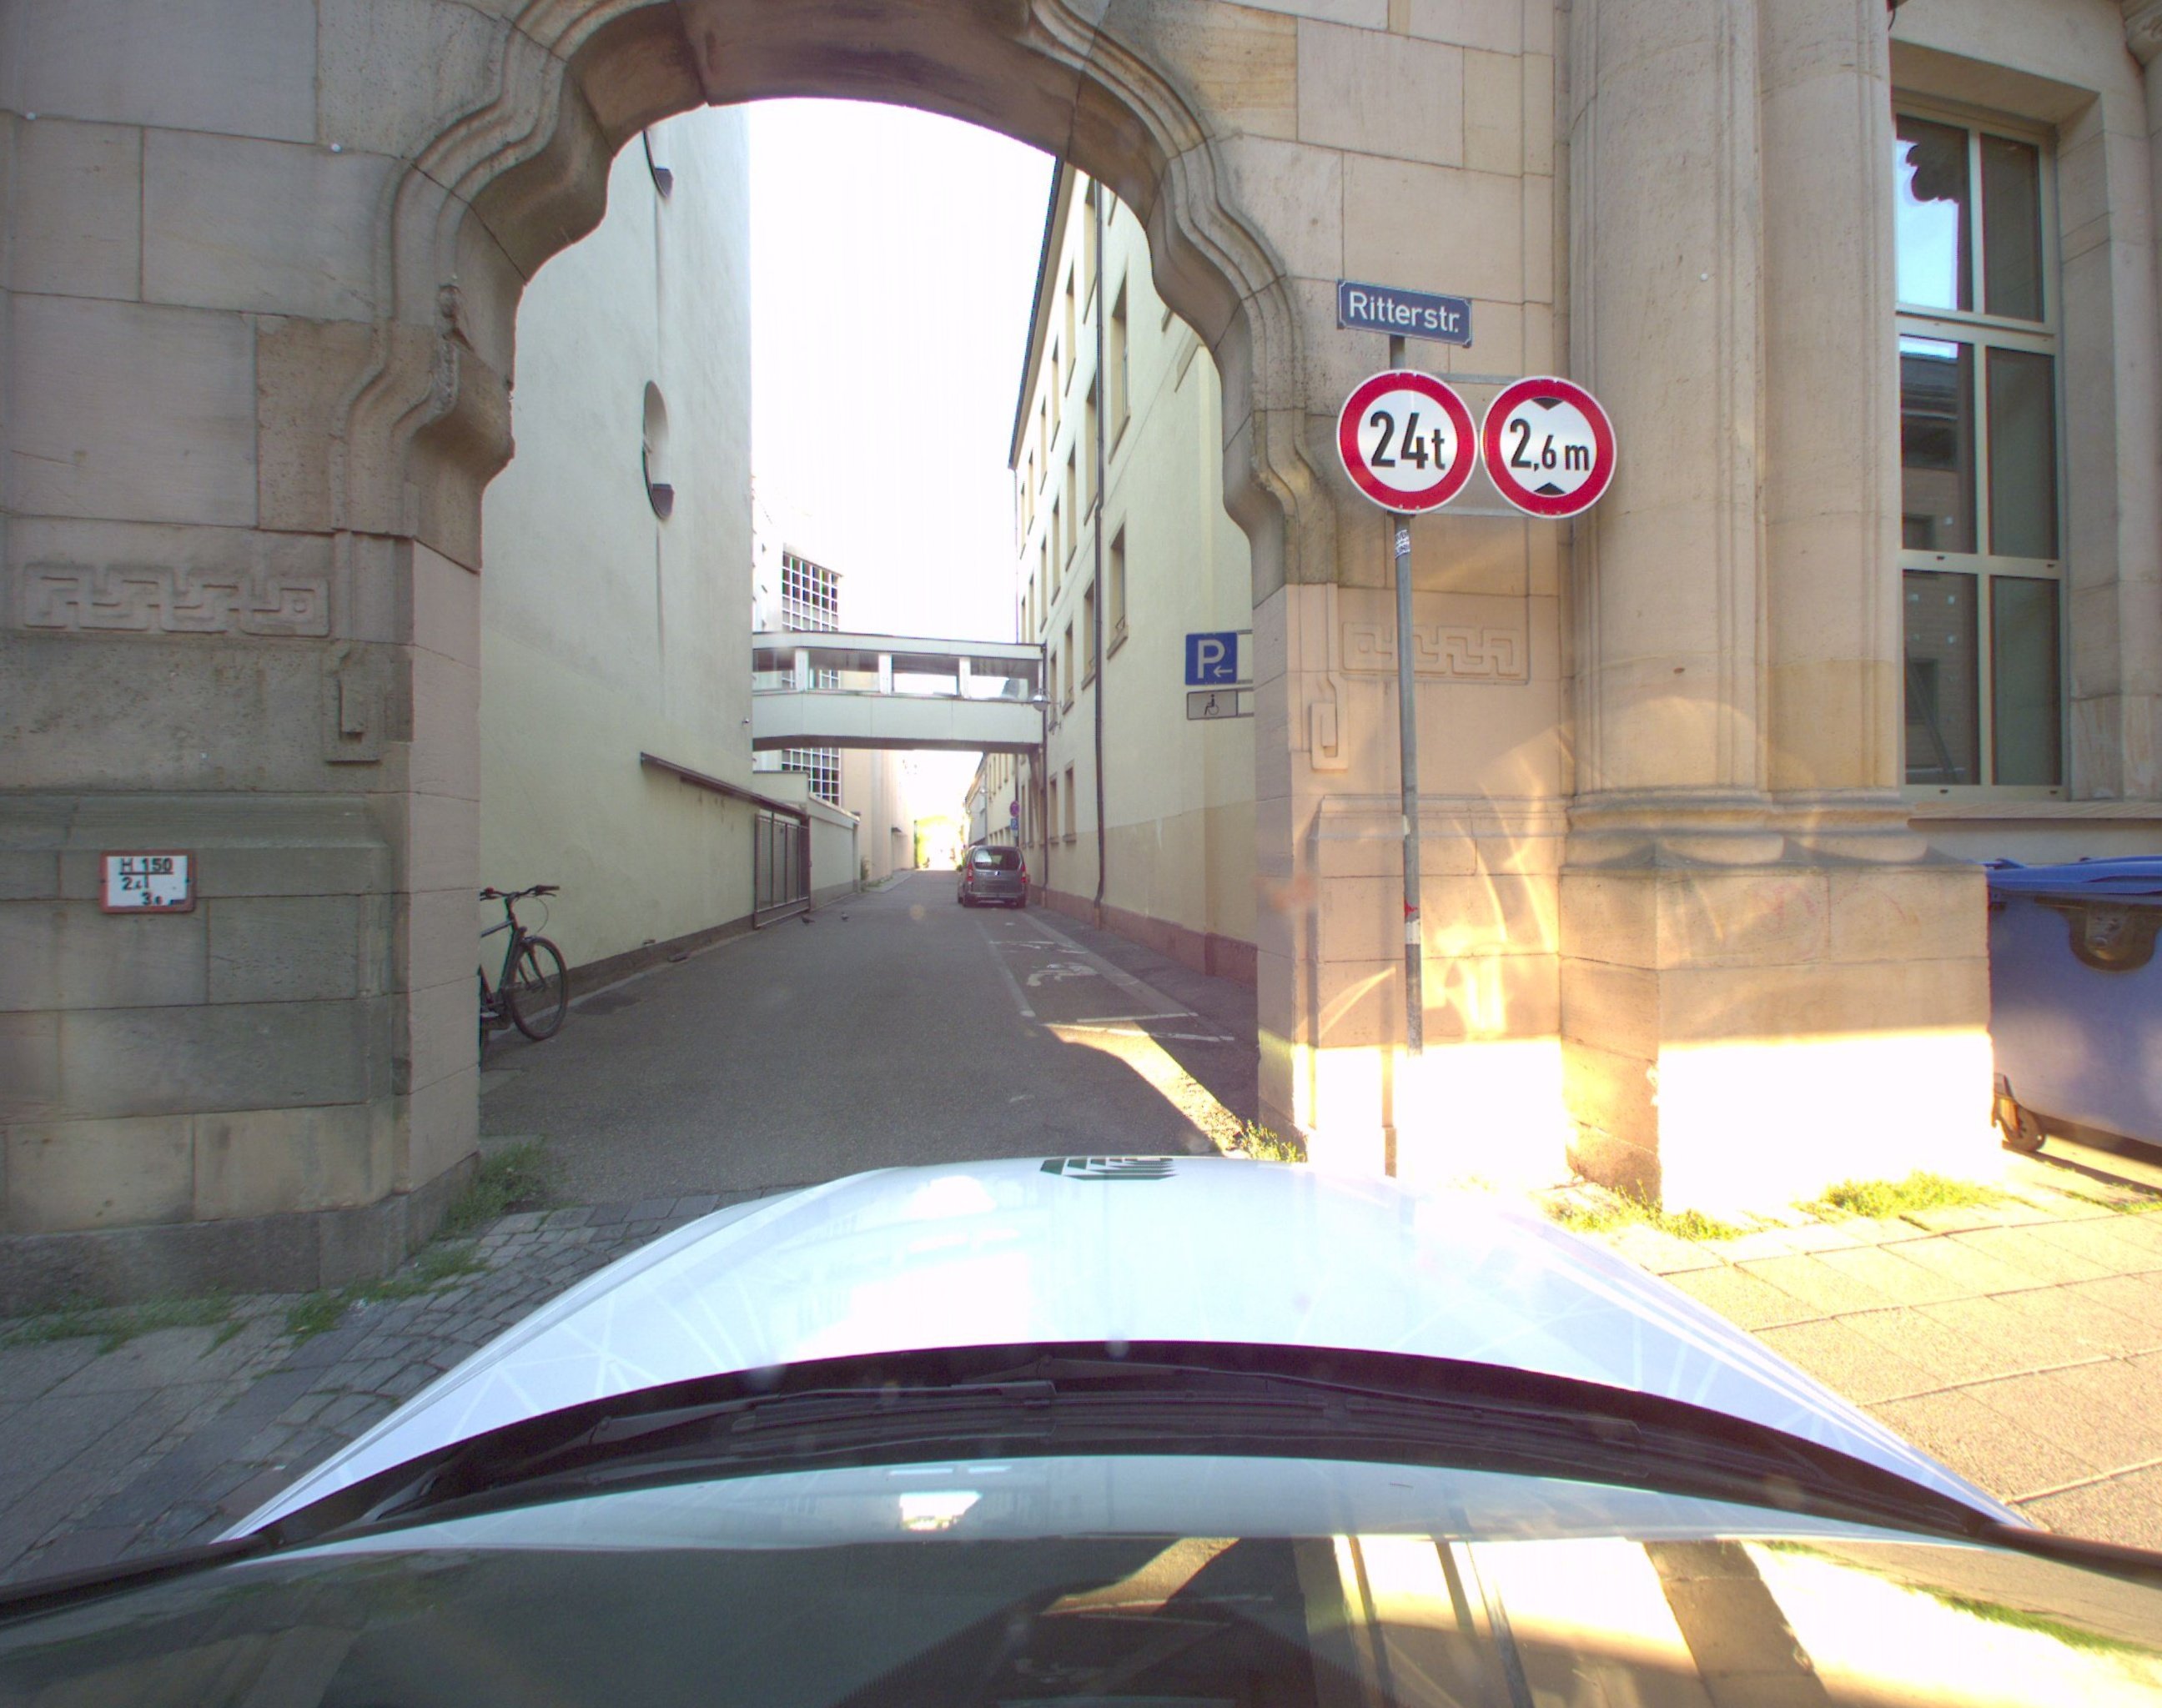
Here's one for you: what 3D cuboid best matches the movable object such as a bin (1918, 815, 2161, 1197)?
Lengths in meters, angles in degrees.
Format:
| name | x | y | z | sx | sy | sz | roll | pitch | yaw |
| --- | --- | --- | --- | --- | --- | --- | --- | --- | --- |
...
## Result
| name | x | y | z | sx | sy | sz | roll | pitch | yaw |
| --- | --- | --- | --- | --- | --- | --- | --- | --- | --- |
| movable object such as a bin | 4.721 | 0.572 | 3.492 | 1.182 | 1.474 | 1.075 | -1 | 1 | -6 |

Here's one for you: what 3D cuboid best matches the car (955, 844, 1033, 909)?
| name | x | y | z | sx | sy | sz | roll | pitch | yaw |
| --- | --- | --- | --- | --- | --- | --- | --- | --- | --- |
| car | -2.739 | 0.645 | 24.843 | 1.857 | 1.756 | 4.144 | 3 | -1 | -12 |

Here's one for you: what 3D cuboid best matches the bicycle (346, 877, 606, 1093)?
| name | x | y | z | sx | sy | sz | roll | pitch | yaw |
| --- | --- | --- | --- | --- | --- | --- | --- | --- | --- |
| bicycle | -3.702 | 0.713 | 5.181 | 0.595 | 1.079 | 1.750 | 0 | 0 | -10 |
